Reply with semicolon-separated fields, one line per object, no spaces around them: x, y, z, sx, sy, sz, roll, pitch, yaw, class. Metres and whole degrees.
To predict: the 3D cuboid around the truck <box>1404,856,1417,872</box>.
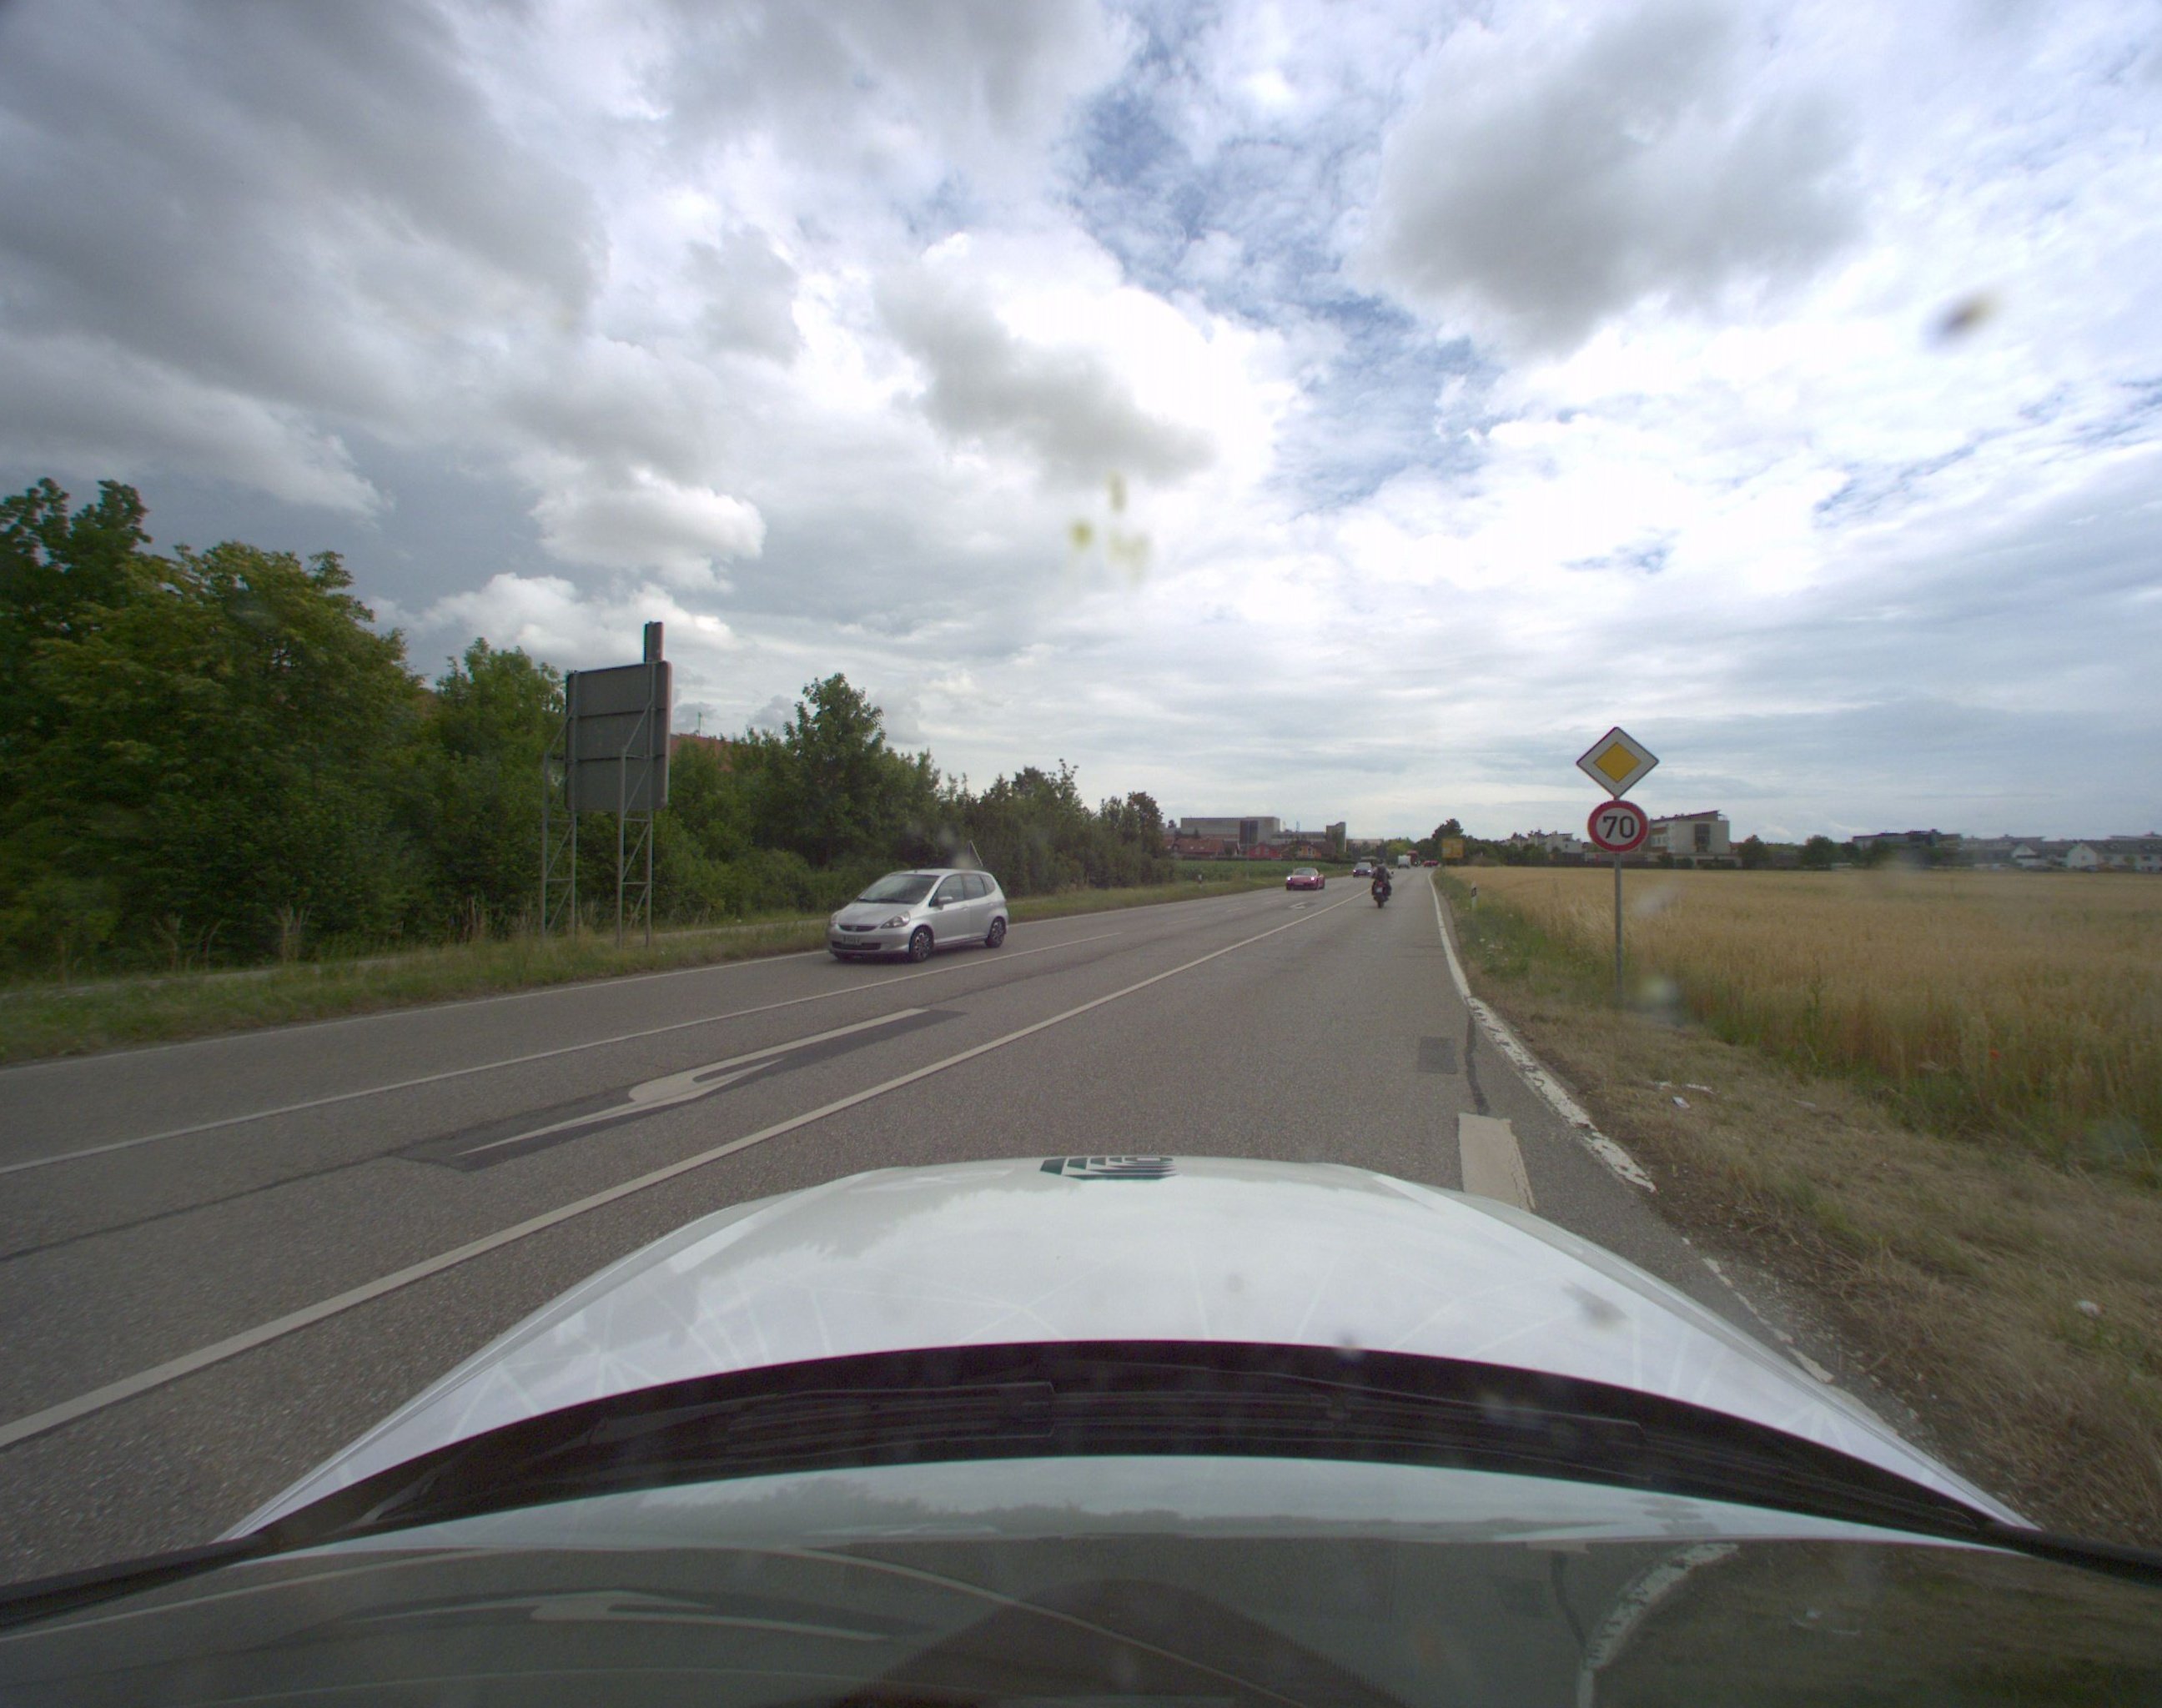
83.218;2.593;205.415;2.705;3.987;6.854;0;-1;24;truck

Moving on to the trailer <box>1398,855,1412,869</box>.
66.186;1.583;166.331;2.303;2.729;7.887;0;0;24;trailer

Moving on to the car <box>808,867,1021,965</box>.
-2.754;0.973;14.386;1.714;1.431;3.956;-1;-1;23;car

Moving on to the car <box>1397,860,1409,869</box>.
63.652;2.039;160.869;1.976;1.699;4.701;1;0;24;car

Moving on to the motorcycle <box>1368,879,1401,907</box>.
10.770;1.364;28.851;0.933;0.890;2.158;1;0;24;motorcycle

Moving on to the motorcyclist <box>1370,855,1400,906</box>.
10.805;0.910;28.922;0.933;1.750;1.207;1;-1;24;motorcyclist

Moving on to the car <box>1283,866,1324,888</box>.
13.402;1.348;48.879;1.755;1.241;4.235;0;0;24;car

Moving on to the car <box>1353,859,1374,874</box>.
28.489;1.284;82.126;1.654;1.429;4.326;-1;-1;23;car

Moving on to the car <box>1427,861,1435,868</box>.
83.944;2.501;195.257;1.838;1.472;4.022;1;0;24;car
